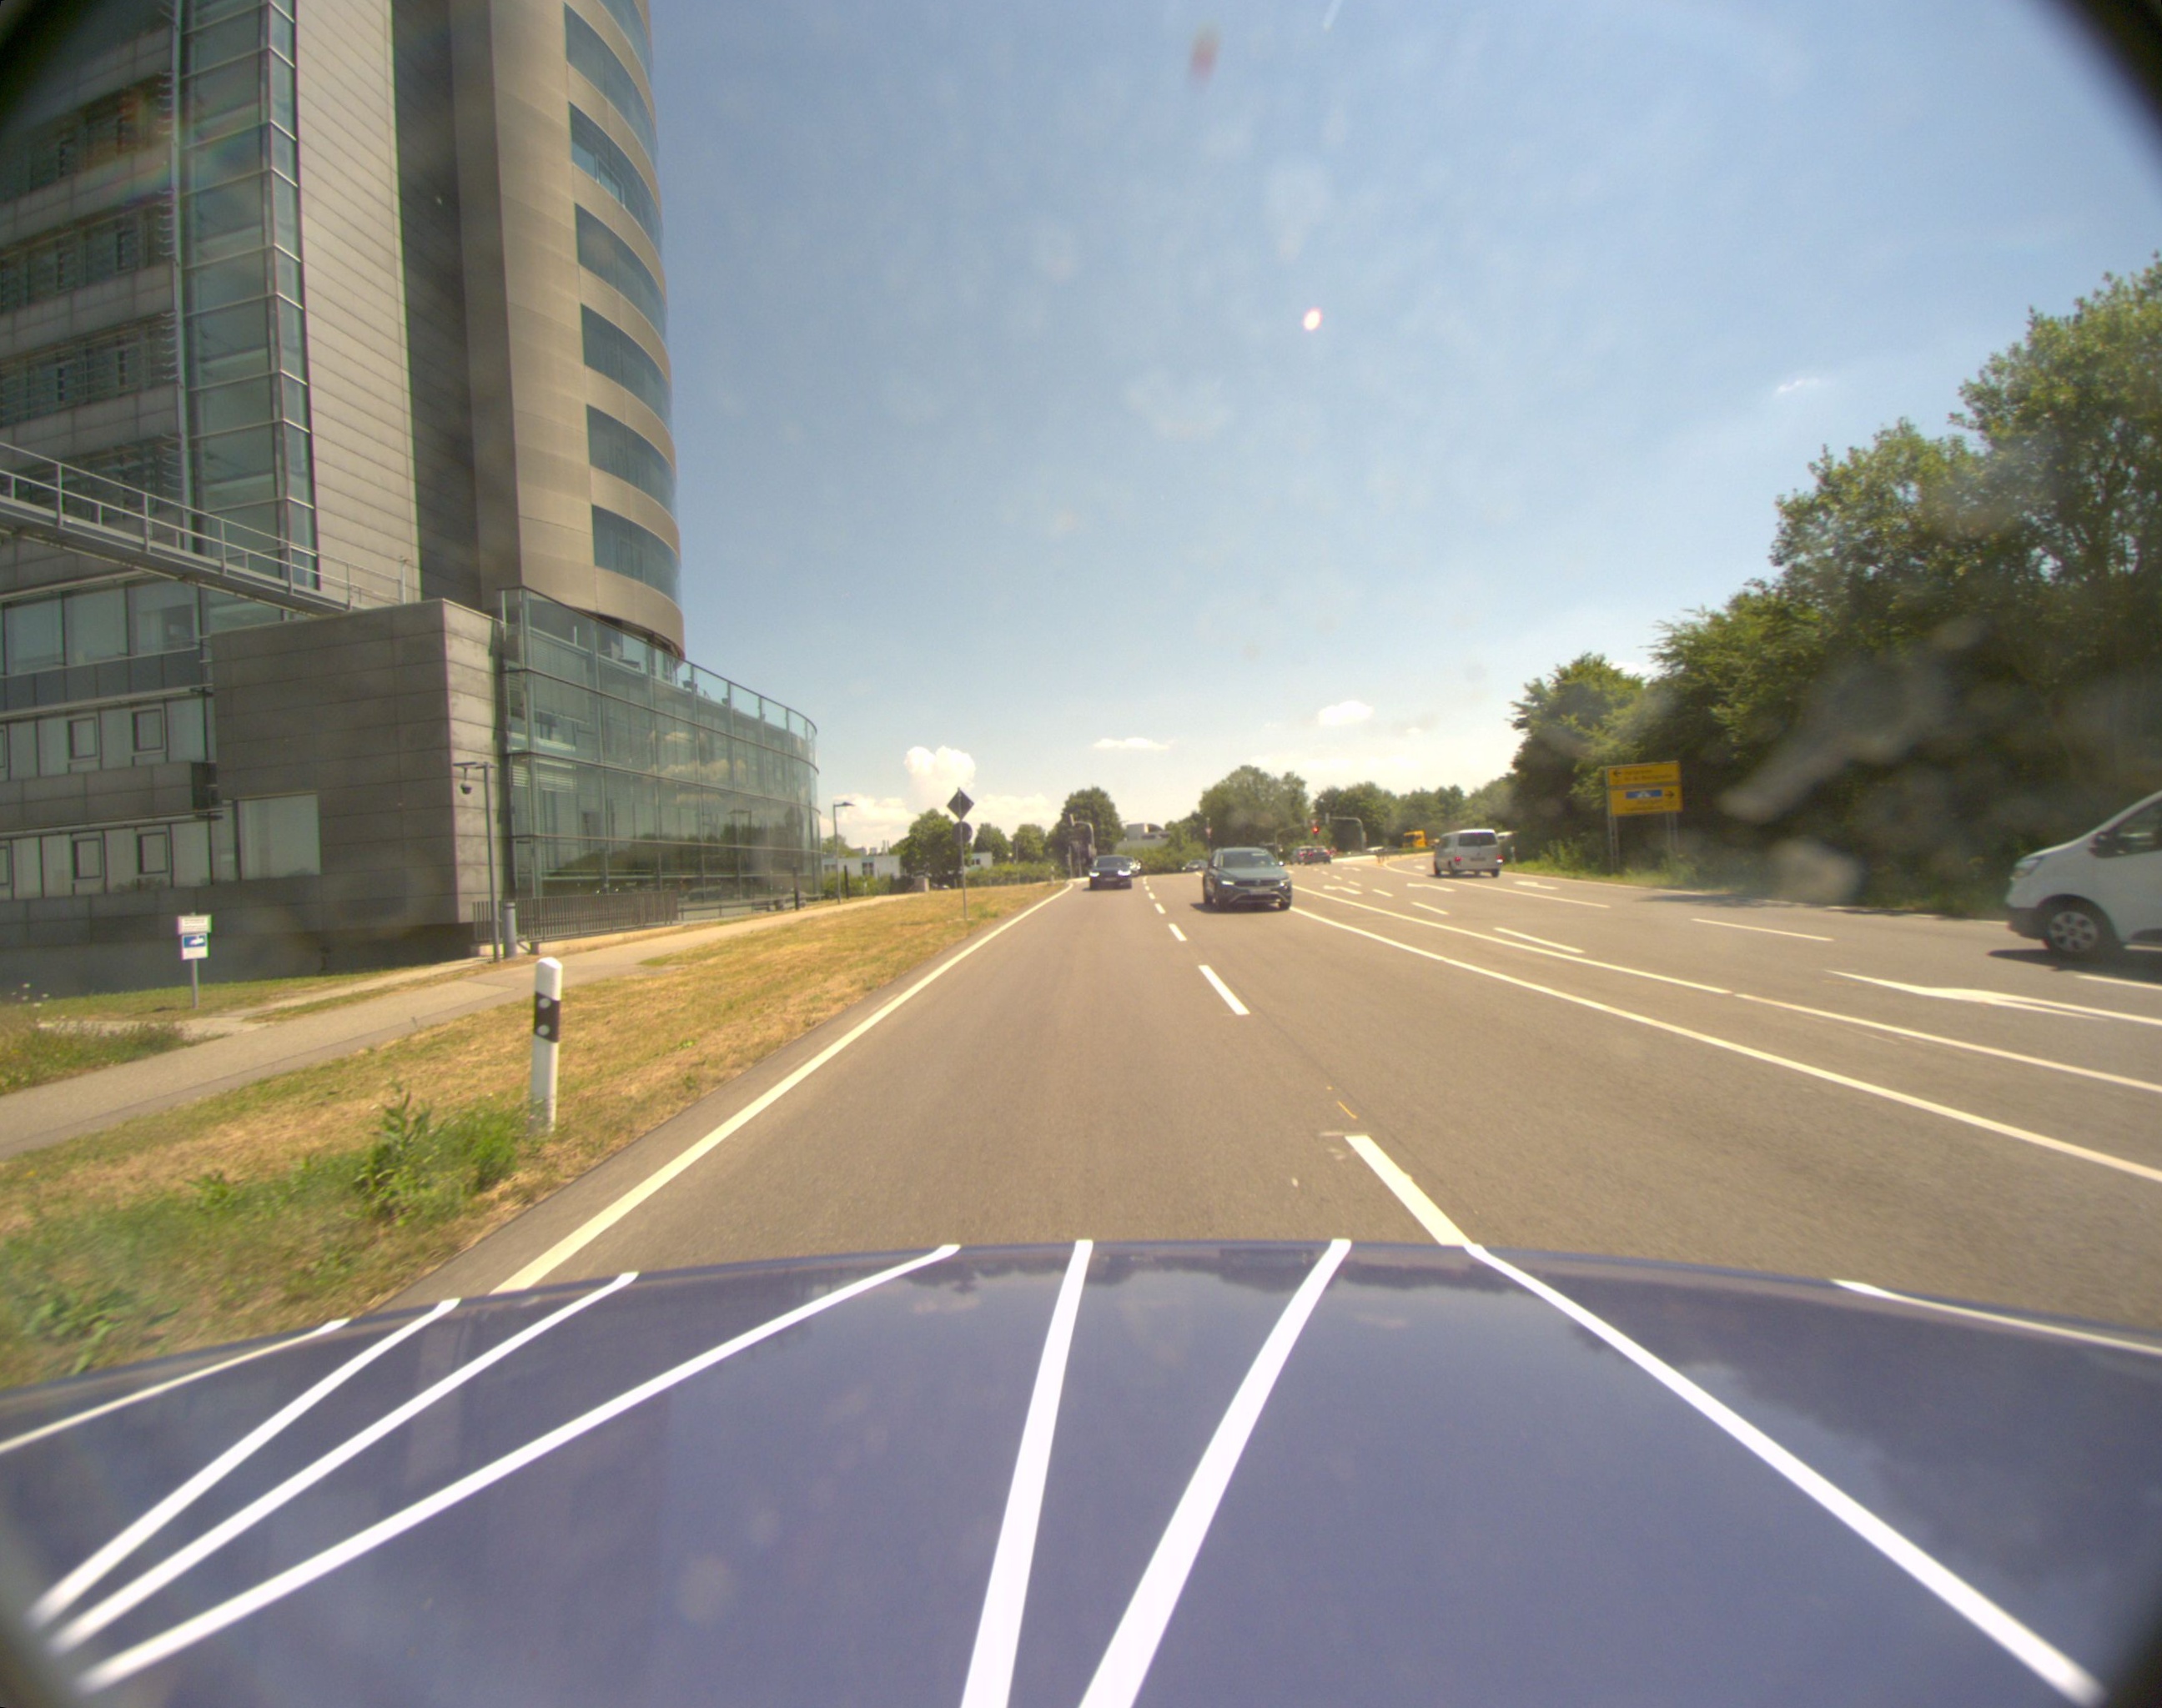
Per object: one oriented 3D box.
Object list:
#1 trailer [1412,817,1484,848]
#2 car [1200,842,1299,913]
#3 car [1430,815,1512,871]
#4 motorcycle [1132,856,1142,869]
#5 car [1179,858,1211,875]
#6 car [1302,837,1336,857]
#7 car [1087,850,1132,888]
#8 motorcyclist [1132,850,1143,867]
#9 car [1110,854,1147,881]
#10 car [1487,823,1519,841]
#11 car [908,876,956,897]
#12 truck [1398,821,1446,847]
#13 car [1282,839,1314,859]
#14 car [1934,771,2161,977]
[{"bbox_3d":[58.179,-3.424,120.263,13.189,4.038,3.067,-4,-1,-29],"label":"trailer"},{"bbox_3d":[4.265,0.524,19.891,1.839,1.577,4.392,-2,0,4],"label":"car"},{"bbox_3d":[16.327,-0.421,32.069,1.977,2.001,4.846,-5,-1,16],"label":"car"},{"bbox_3d":[4.819,0.733,64.959,0.734,1.131,2.073,-1,0,2],"label":"motorcycle"},{"bbox_3d":[12.255,1.356,81.667,2.114,1.582,4.457,-2,1,26],"label":"car"},{"bbox_3d":[19.278,-0.526,61.793,1.997,1.430,4.225,-5,-1,9],"label":"car"},{"bbox_3d":[1.298,0.623,33.279,1.779,1.497,4.562,-2,0,4],"label":"car"},{"bbox_3d":[4.800,0.382,64.904,0.860,1.479,1.162,-1,0,2],"label":"motorcyclist"},{"bbox_3d":[3.275,0.883,51.506,1.932,1.577,4.183,-5,-1,9],"label":"car"},{"bbox_3d":[69.854,-3.674,125.733,5.489,2.591,2.165,-4,-1,-35],"label":"car"},{"bbox_3d":[-14.320,3.103,72.940,4.355,1.590,1.937,-5,-1,-14],"label":"car"},{"bbox_3d":[52.639,-3.125,117.241,6.865,3.516,2.980,-4,-1,-28],"label":"truck"},{"bbox_3d":[19.819,-0.420,69.544,1.612,1.589,4.354,-5,-1,0],"label":"car"},{"bbox_3d":[11.437,0.148,6.526,2.080,2.002,5.809,-3,0,7],"label":"car"}]
